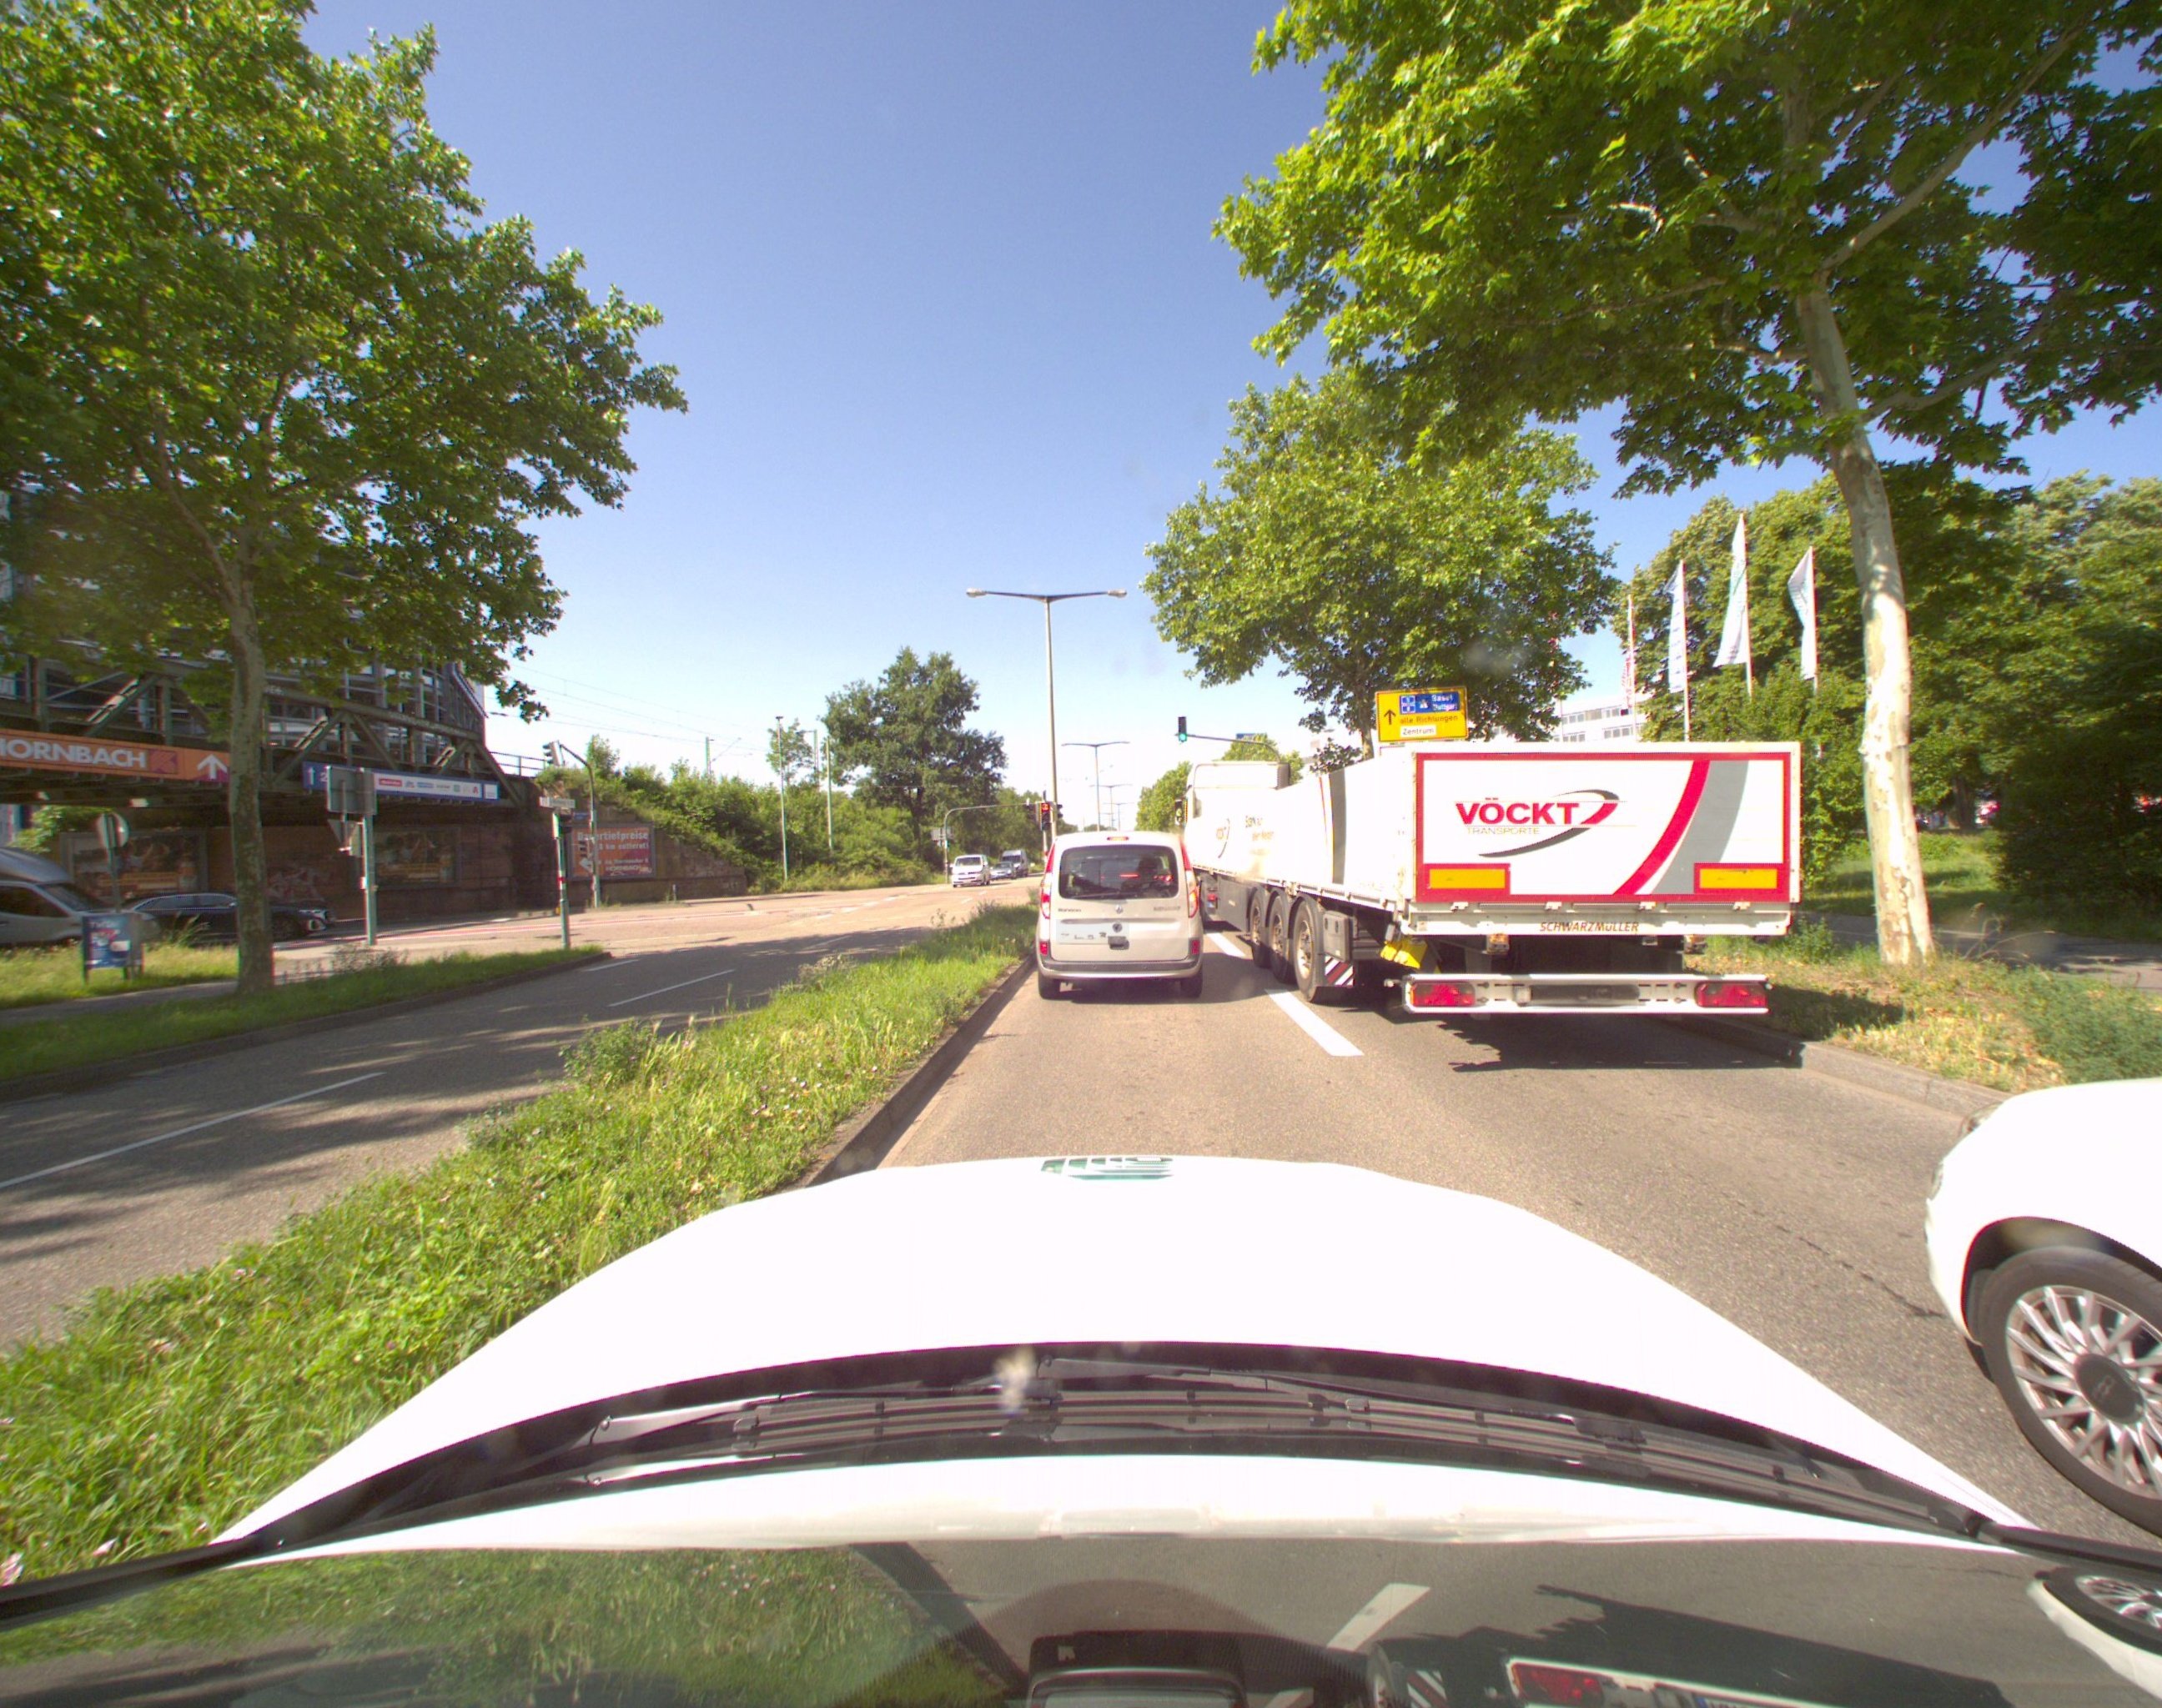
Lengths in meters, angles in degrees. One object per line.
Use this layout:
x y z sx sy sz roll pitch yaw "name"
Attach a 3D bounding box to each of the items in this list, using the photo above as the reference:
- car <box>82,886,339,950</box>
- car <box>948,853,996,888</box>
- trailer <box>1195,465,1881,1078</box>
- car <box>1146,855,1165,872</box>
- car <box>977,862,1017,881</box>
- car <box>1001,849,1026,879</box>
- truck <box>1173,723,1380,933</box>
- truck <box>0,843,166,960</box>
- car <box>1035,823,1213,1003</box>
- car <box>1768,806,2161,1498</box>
-26.023 1.853 24.647 5.074 1.596 1.510 -1 -1 -35 "car"
-6.550 0.977 49.492 1.986 1.891 4.989 -4 -1 2 "car"
3.660 -0.459 11.163 3.004 3.741 12.248 -1 0 3 "trailer"
9.099 1.152 99.541 1.986 2.014 4.001 -1 -1 2 "car"
-6.694 1.397 64.467 1.920 1.409 4.193 -1 -1 -24 "car"
-6.239 0.938 75.685 2.054 2.614 5.862 -1 -1 -3 "car"
3.948 -0.443 18.476 3.060 3.758 7.479 -1 -1 2 "truck"
-26.710 1.147 19.250 6.431 2.713 1.979 -1 -1 -34 "truck"
0.505 0.604 10.099 1.742 1.772 3.951 -1 -1 2 "car"
3.006 0.600 0.905 1.654 1.436 3.523 -1 -1 4 "car"
